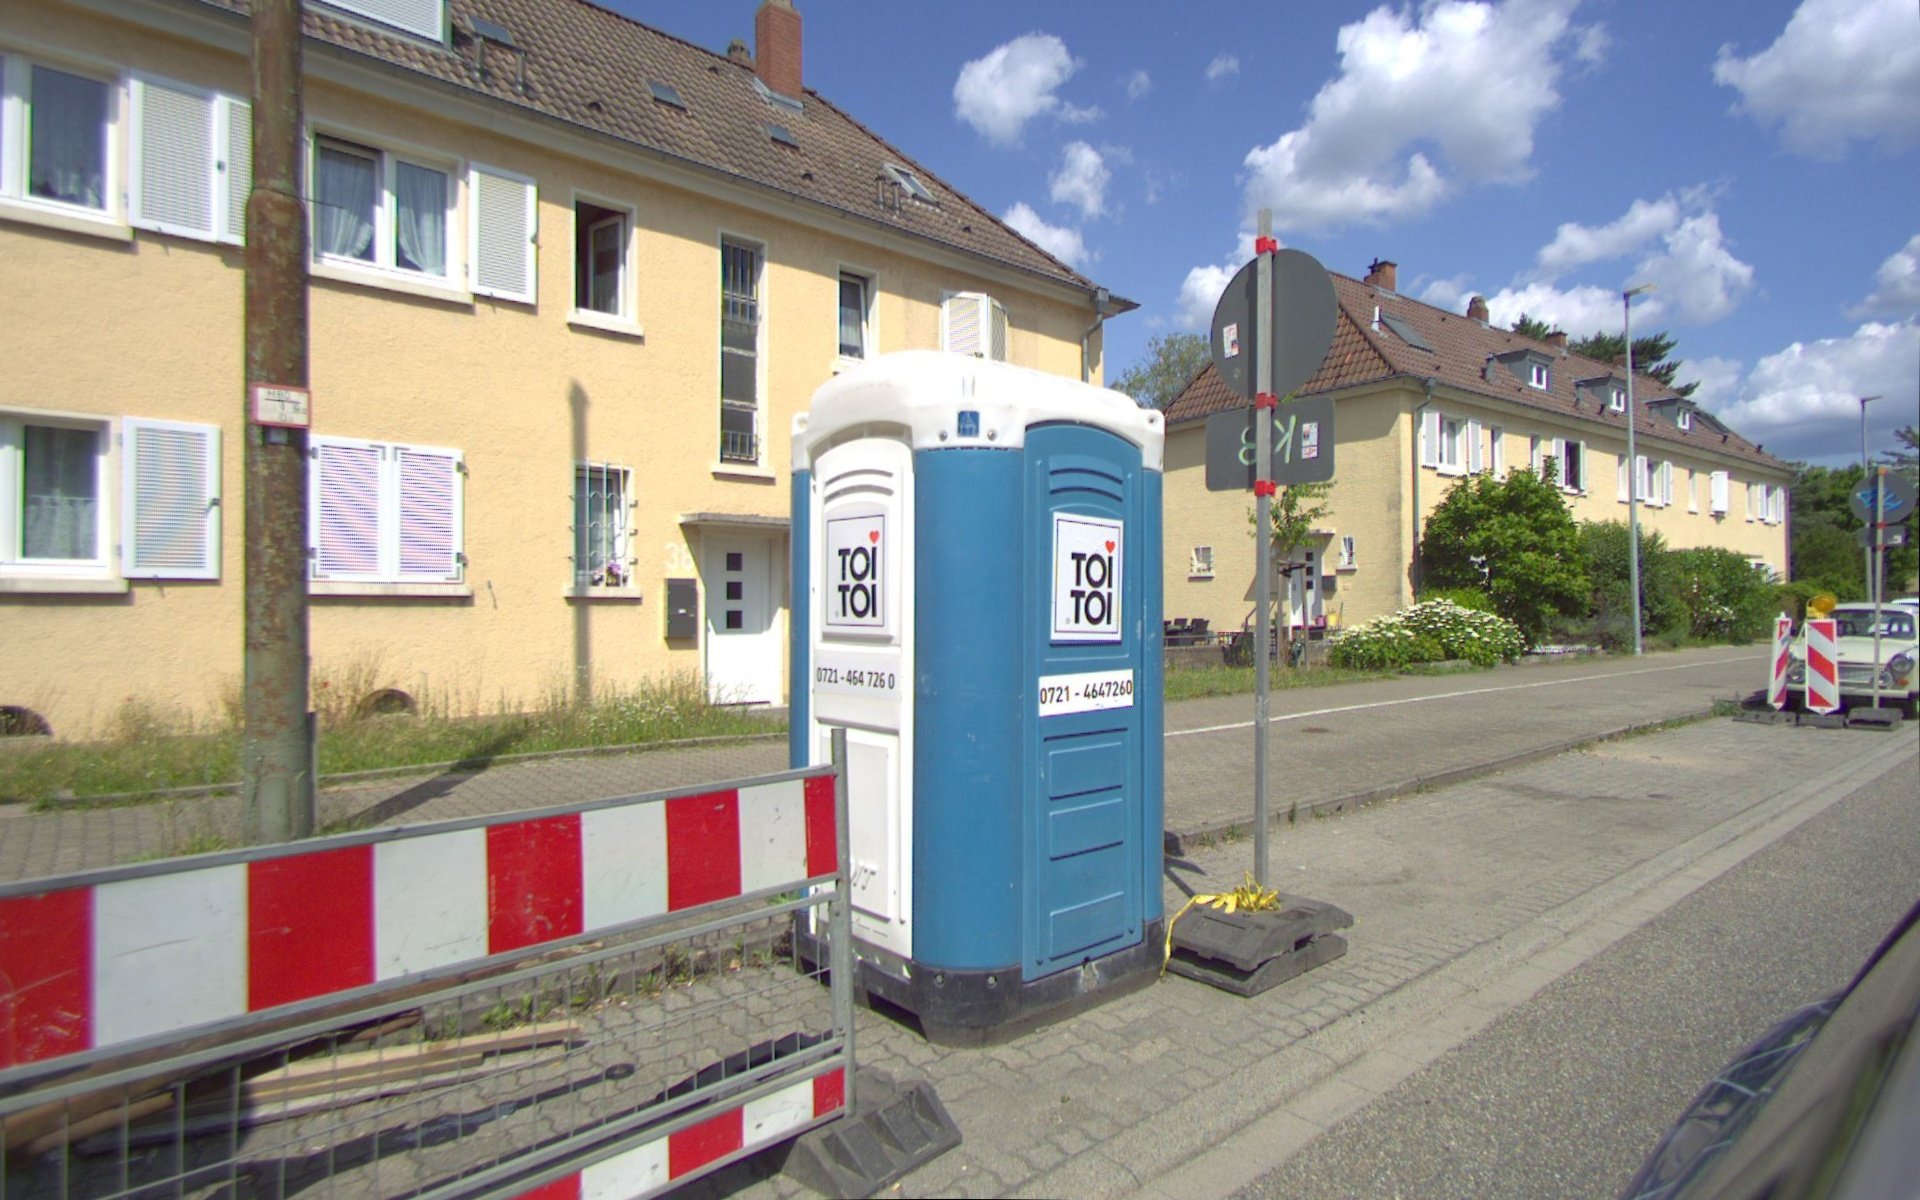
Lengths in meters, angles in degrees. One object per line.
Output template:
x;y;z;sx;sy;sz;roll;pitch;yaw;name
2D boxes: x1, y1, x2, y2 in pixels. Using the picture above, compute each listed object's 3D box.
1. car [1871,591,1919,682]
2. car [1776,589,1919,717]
17.488;0.604;17.765;3.738;1.499;1.532;0;0;-37;car
12.599;0.614;13.827;4.035;1.521;1.466;0;1;-39;car
